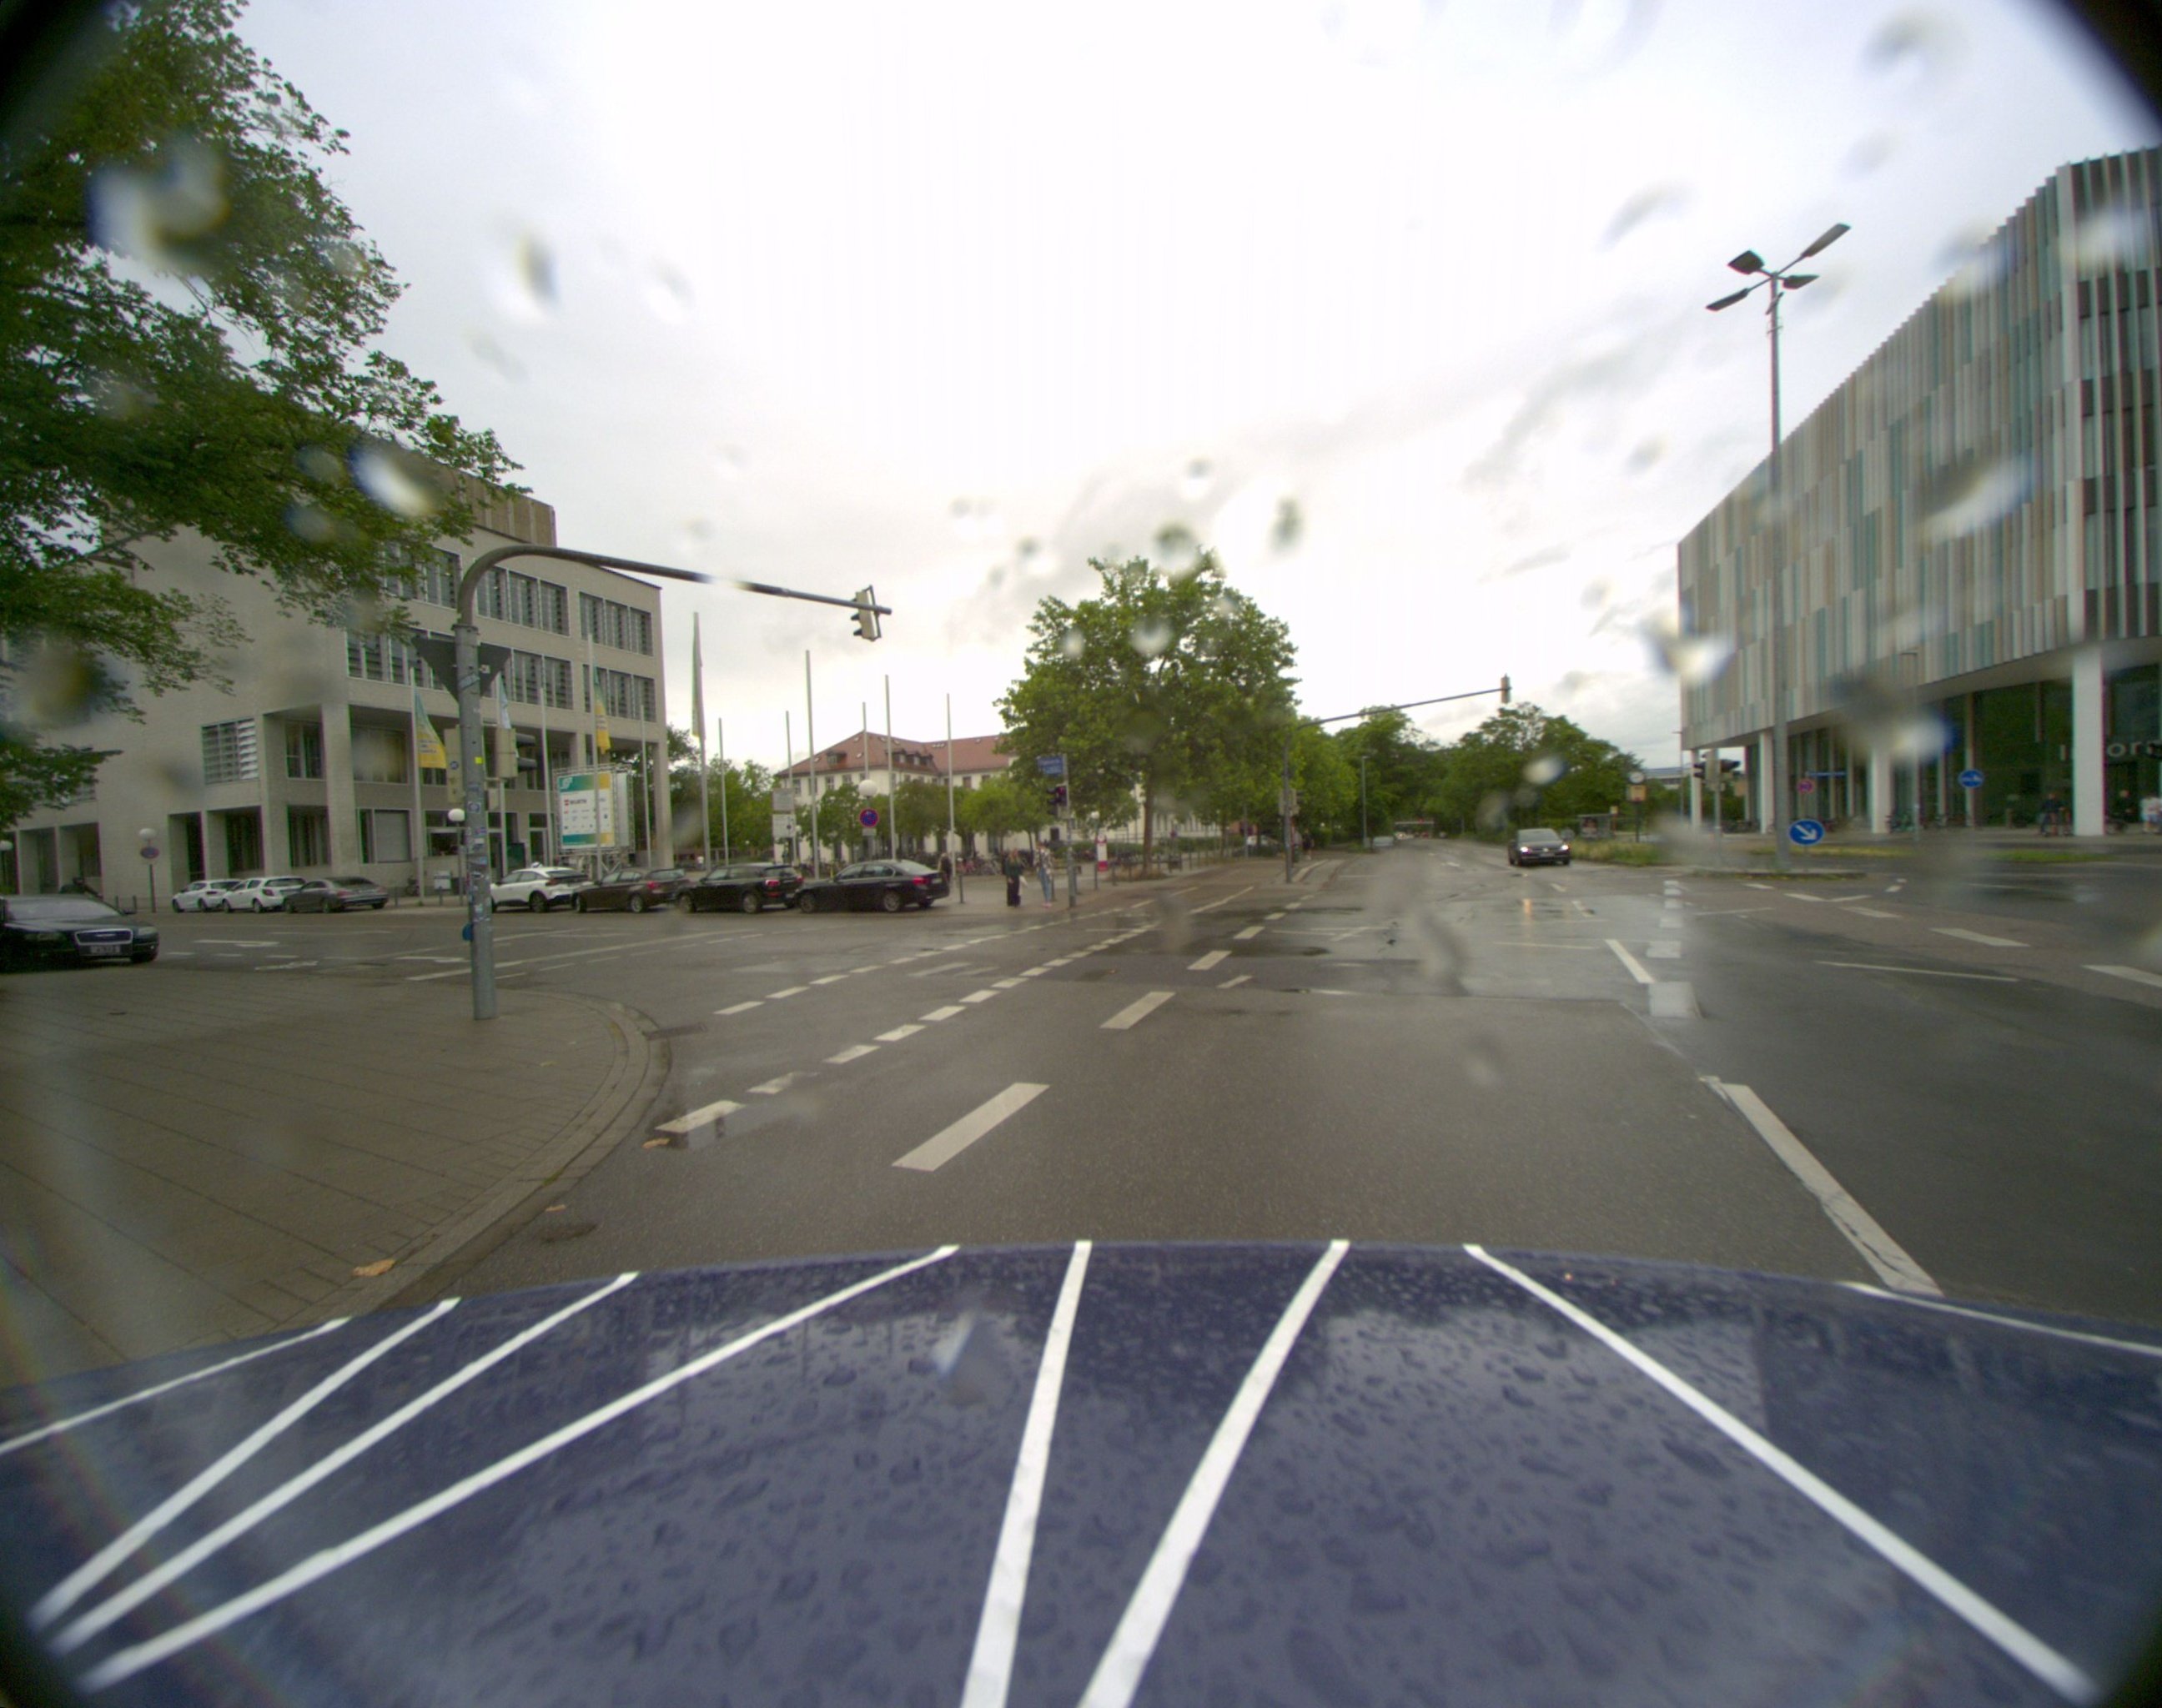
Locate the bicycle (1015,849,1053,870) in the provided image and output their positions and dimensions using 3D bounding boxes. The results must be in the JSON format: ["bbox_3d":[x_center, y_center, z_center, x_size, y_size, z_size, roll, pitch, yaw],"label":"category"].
[{"bbox_3d":[-2.998,0.357,48.456,2.282,1.215,0.599,-2,1,12],"label":"bicycle"}]

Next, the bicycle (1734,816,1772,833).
[{"bbox_3d":[55.346,-2.423,62.614,2.280,1.215,0.600,-2,1,34],"label":"bicycle"}]

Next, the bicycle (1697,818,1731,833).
[{"bbox_3d":[57.664,-2.608,69.254,2.280,1.215,0.600,-2,1,34],"label":"bicycle"}]

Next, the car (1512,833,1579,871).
[{"bbox_3d":[18.460,-0.118,30.371,1.658,1.357,4.112,-2,1,23],"label":"car"}]

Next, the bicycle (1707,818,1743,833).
[{"bbox_3d":[56.120,-2.505,66.231,2.280,1.215,0.600,-2,1,34],"label":"bicycle"}]

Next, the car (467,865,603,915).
[{"bbox_3d":[-19.308,1.267,26.893,4.091,1.510,1.774,-2,4,19],"label":"car"}]

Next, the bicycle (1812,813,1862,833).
[{"bbox_3d":[50.783,-2.082,51.082,2.280,1.215,0.600,-2,1,34],"label":"bicycle"}]

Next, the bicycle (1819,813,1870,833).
[{"bbox_3d":[50.313,-2.050,50.100,2.280,1.215,0.600,-2,1,34],"label":"bicycle"}]

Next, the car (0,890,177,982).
[{"bbox_3d":[-20.600,1.551,15.208,4.091,1.509,1.775,0,2,18],"label":"car"}]

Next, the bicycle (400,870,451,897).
[{"bbox_3d":[-33.527,1.509,38.847,2.962,1.322,0.925,-2,1,28],"label":"bicycle"}]

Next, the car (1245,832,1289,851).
[{"bbox_3d":[19.705,-1.327,80.339,4.418,1.862,1.640,-2,1,17],"label":"car"}]

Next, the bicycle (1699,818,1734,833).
[{"bbox_3d":[56.910,-2.562,68.066,2.280,1.215,0.600,-2,1,34],"label":"bicycle"}]

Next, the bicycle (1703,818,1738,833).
[{"bbox_3d":[56.442,-2.529,67.056,2.280,1.215,0.600,-2,1,34],"label":"bicycle"}]

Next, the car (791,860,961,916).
[{"bbox_3d":[-5.838,0.959,21.691,4.380,1.330,1.775,-2,4,21],"label":"car"}]

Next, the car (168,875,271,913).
[{"bbox_3d":[-39.848,1.843,35.133,4.091,1.510,1.775,-2,4,22],"label":"car"}]

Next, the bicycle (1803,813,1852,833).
[{"bbox_3d":[51.131,-2.109,52.062,2.280,1.215,0.600,-2,1,34],"label":"bicycle"}]

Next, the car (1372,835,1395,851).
[{"bbox_3d":[25.090,-0.934,63.041,1.658,1.259,4.112,-2,1,23],"label":"car"}]

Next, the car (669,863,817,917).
[{"bbox_3d":[-10.341,1.101,23.253,4.007,1.371,1.775,-2,4,23],"label":"car"}]

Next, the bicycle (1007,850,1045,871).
[{"bbox_3d":[-3.463,0.397,47.653,2.282,1.215,0.599,-2,1,12],"label":"bicycle"}]

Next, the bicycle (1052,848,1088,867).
[{"bbox_3d":[-0.759,0.223,51.744,2.282,1.215,0.599,-2,1,12],"label":"bicycle"}]

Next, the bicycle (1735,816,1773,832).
[{"bbox_3d":[55.894,-2.452,63.143,2.280,1.215,0.600,-2,1,34],"label":"bicycle"}]

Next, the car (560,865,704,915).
[{"bbox_3d":[-14.837,1.199,25.124,4.228,1.391,1.775,-2,4,21],"label":"car"}]

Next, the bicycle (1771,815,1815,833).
[{"bbox_3d":[52.271,-2.207,55.810,2.280,1.215,0.600,-2,1,34],"label":"bicycle"}]

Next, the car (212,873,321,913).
[{"bbox_3d":[-35.570,1.706,33.191,4.091,1.510,1.775,-2,4,22],"label":"car"}]

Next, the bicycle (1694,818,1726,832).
[{"bbox_3d":[58.976,-2.687,71.264,2.280,1.215,0.600,-2,1,34],"label":"bicycle"}]

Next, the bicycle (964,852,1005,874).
[{"bbox_3d":[-5.686,0.515,44.634,2.282,1.215,0.599,-2,1,12],"label":"bicycle"}]

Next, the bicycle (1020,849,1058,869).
[{"bbox_3d":[-2.716,0.335,49.214,2.282,1.215,0.599,-2,1,12],"label":"bicycle"}]

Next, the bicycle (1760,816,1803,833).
[{"bbox_3d":[52.947,-2.239,57.442,2.280,1.215,0.600,-2,1,34],"label":"bicycle"}]

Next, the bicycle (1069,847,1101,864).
[{"bbox_3d":[0.320,0.097,57.622,2.282,1.215,0.599,-2,1,12],"label":"bicycle"}]

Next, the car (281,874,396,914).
[{"bbox_3d":[-30.442,1.638,31.144,4.091,1.395,1.775,-2,4,22],"label":"car"}]

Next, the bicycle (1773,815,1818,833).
[{"bbox_3d":[51.813,-2.179,55.108,2.280,1.215,0.600,-2,1,34],"label":"bicycle"}]

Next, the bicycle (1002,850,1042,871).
[{"bbox_3d":[-3.623,0.417,46.635,2.282,1.215,0.599,-2,1,12],"label":"bicycle"}]

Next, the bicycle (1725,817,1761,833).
[{"bbox_3d":[56.124,-2.479,64.438,2.280,1.215,0.600,-2,1,34],"label":"bicycle"}]

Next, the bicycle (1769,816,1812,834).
[{"bbox_3d":[52.744,-2.167,56.506,2.280,1.215,0.600,-2,1,34],"label":"bicycle"}]
